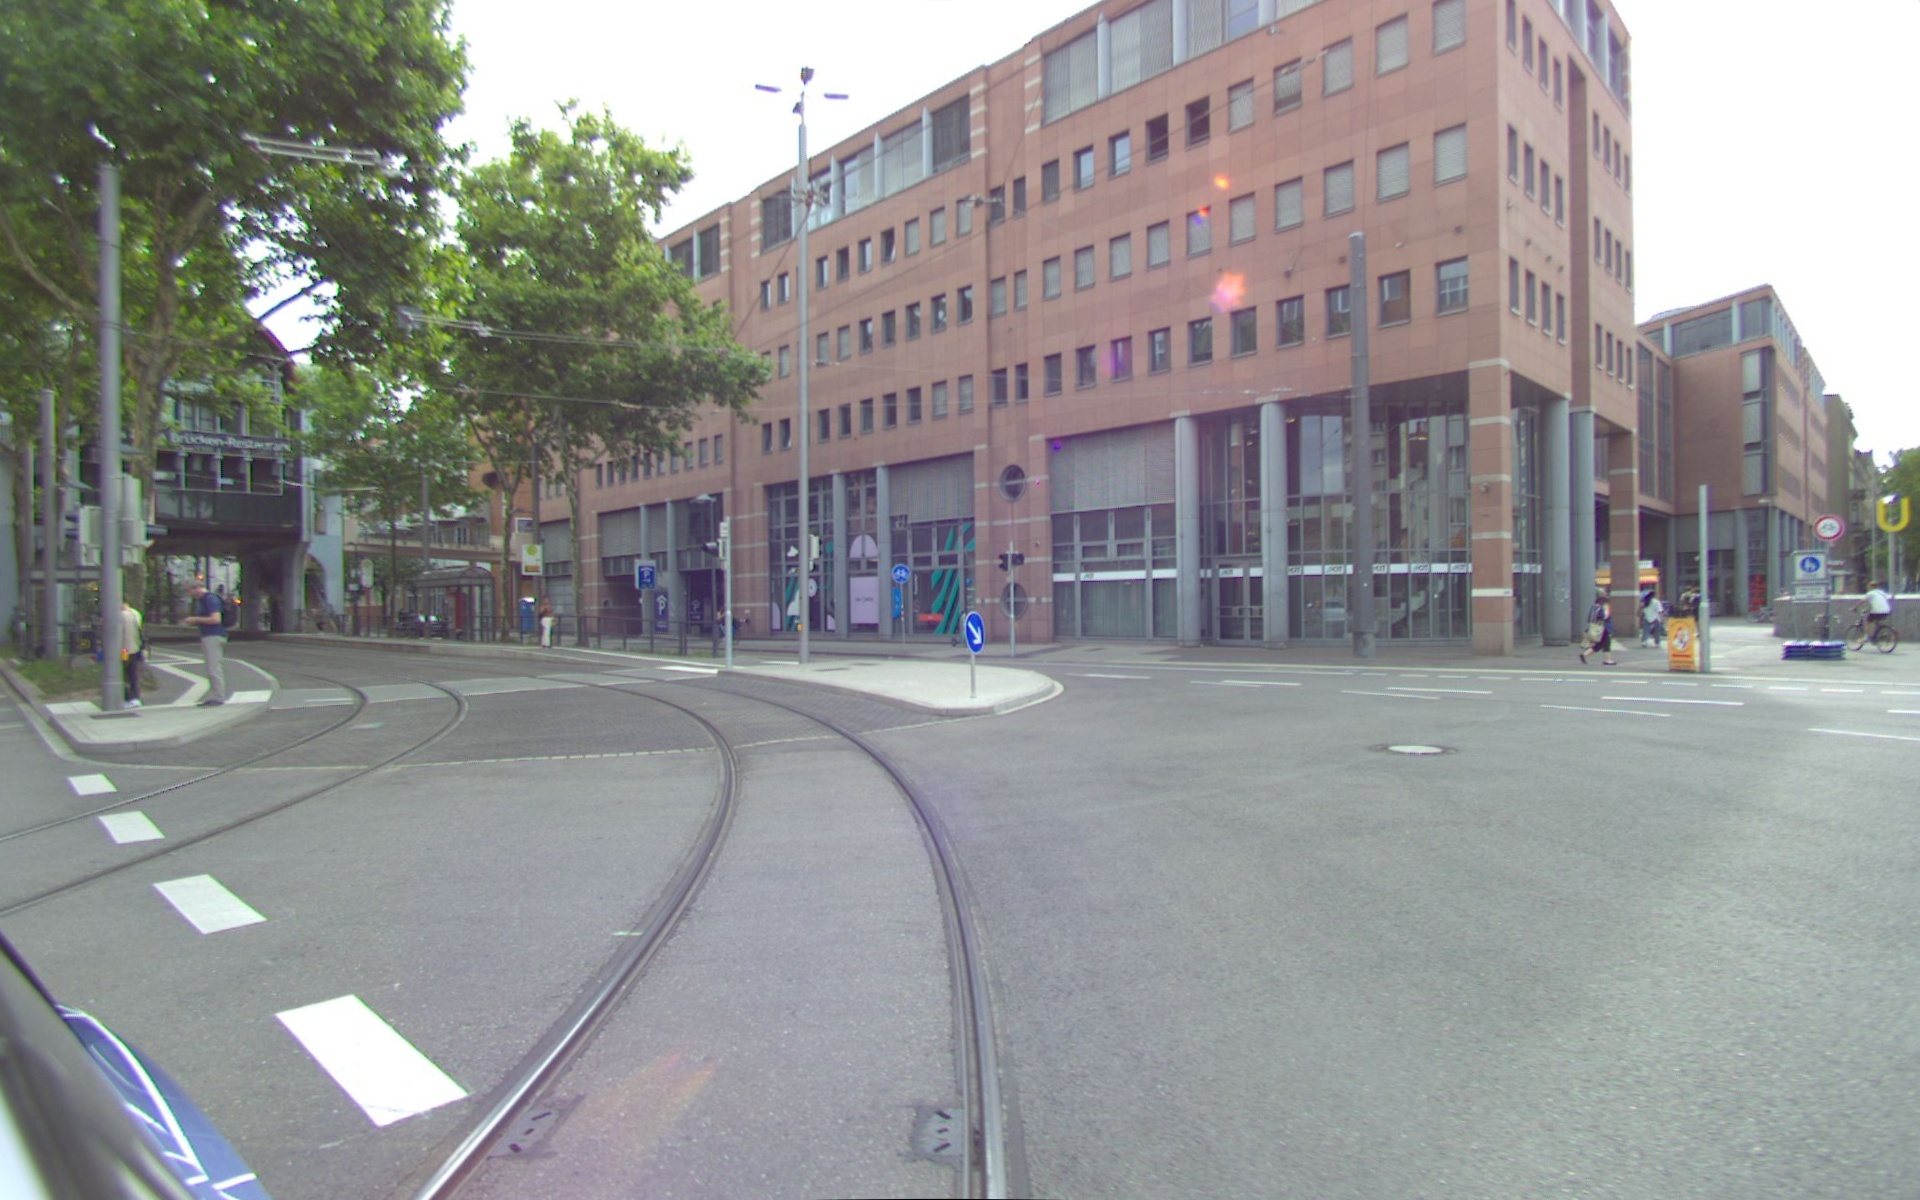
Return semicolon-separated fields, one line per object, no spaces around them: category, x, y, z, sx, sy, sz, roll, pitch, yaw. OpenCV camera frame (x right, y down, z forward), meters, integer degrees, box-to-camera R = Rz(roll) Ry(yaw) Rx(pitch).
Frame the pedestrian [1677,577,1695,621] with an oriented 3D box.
pedestrian;28.126;-0.026;39.192;0.513;1.676;0.464;-1;0;-44

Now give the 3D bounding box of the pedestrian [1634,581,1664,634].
pedestrian;19.805;0.207;29.091;0.646;1.484;0.581;-1;0;-44

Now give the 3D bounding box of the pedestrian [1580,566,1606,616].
pedestrian;21.856;-0.308;34.933;0.575;1.676;0.519;-1;0;12

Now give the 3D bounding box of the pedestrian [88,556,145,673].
pedestrian;-13.278;0.216;15.945;0.526;1.805;0.579;-1;0;-25

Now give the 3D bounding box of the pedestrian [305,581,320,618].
pedestrian;-31.574;-0.020;49.371;0.481;1.784;0.476;-1;0;38

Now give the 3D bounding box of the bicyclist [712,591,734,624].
bicyclist;-10.018;0.312;42.766;0.736;1.391;0.546;-1;0;33

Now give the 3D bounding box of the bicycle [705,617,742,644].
bicycle;-10.003;1.296;42.756;1.585;1.126;0.541;-1;0;33

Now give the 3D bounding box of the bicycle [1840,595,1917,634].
bicycle;24.060;0.365;26.544;0.467;0.996;1.786;-1;0;4

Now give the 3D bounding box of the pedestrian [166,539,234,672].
pedestrian;-11.190;0.074;14.901;0.683;1.889;0.807;-1;0;-44

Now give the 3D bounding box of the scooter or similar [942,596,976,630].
scooter or similar;-0.045;0.443;34.863;0.513;1.141;1.113;-1;0;-44

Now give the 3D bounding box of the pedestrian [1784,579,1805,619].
pedestrian;35.230;-0.029;42.728;0.513;1.676;0.581;-1;0;-44

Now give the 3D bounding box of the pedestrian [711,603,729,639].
pedestrian;-10.695;0.918;45.103;0.521;1.585;0.601;-1;0;-45

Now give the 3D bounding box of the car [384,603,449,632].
car;-29.277;0.932;54.463;4.297;1.484;1.842;-1;-1;44

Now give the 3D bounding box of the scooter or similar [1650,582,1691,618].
scooter or similar;23.393;-0.001;33.336;0.377;1.178;1.294;-1;0;-3

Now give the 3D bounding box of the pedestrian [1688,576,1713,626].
pedestrian;25.196;0.035;34.447;0.513;1.676;0.581;-1;0;-44

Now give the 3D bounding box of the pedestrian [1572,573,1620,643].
pedestrian;13.812;0.166;21.983;0.787;1.484;0.685;-1;0;-45

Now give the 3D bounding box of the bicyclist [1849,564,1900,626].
bicyclist;24.044;-0.123;26.622;0.540;1.581;0.882;-1;0;5

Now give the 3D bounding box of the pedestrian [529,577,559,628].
pedestrian;-12.643;0.069;30.761;0.558;1.549;0.650;1;2;41
